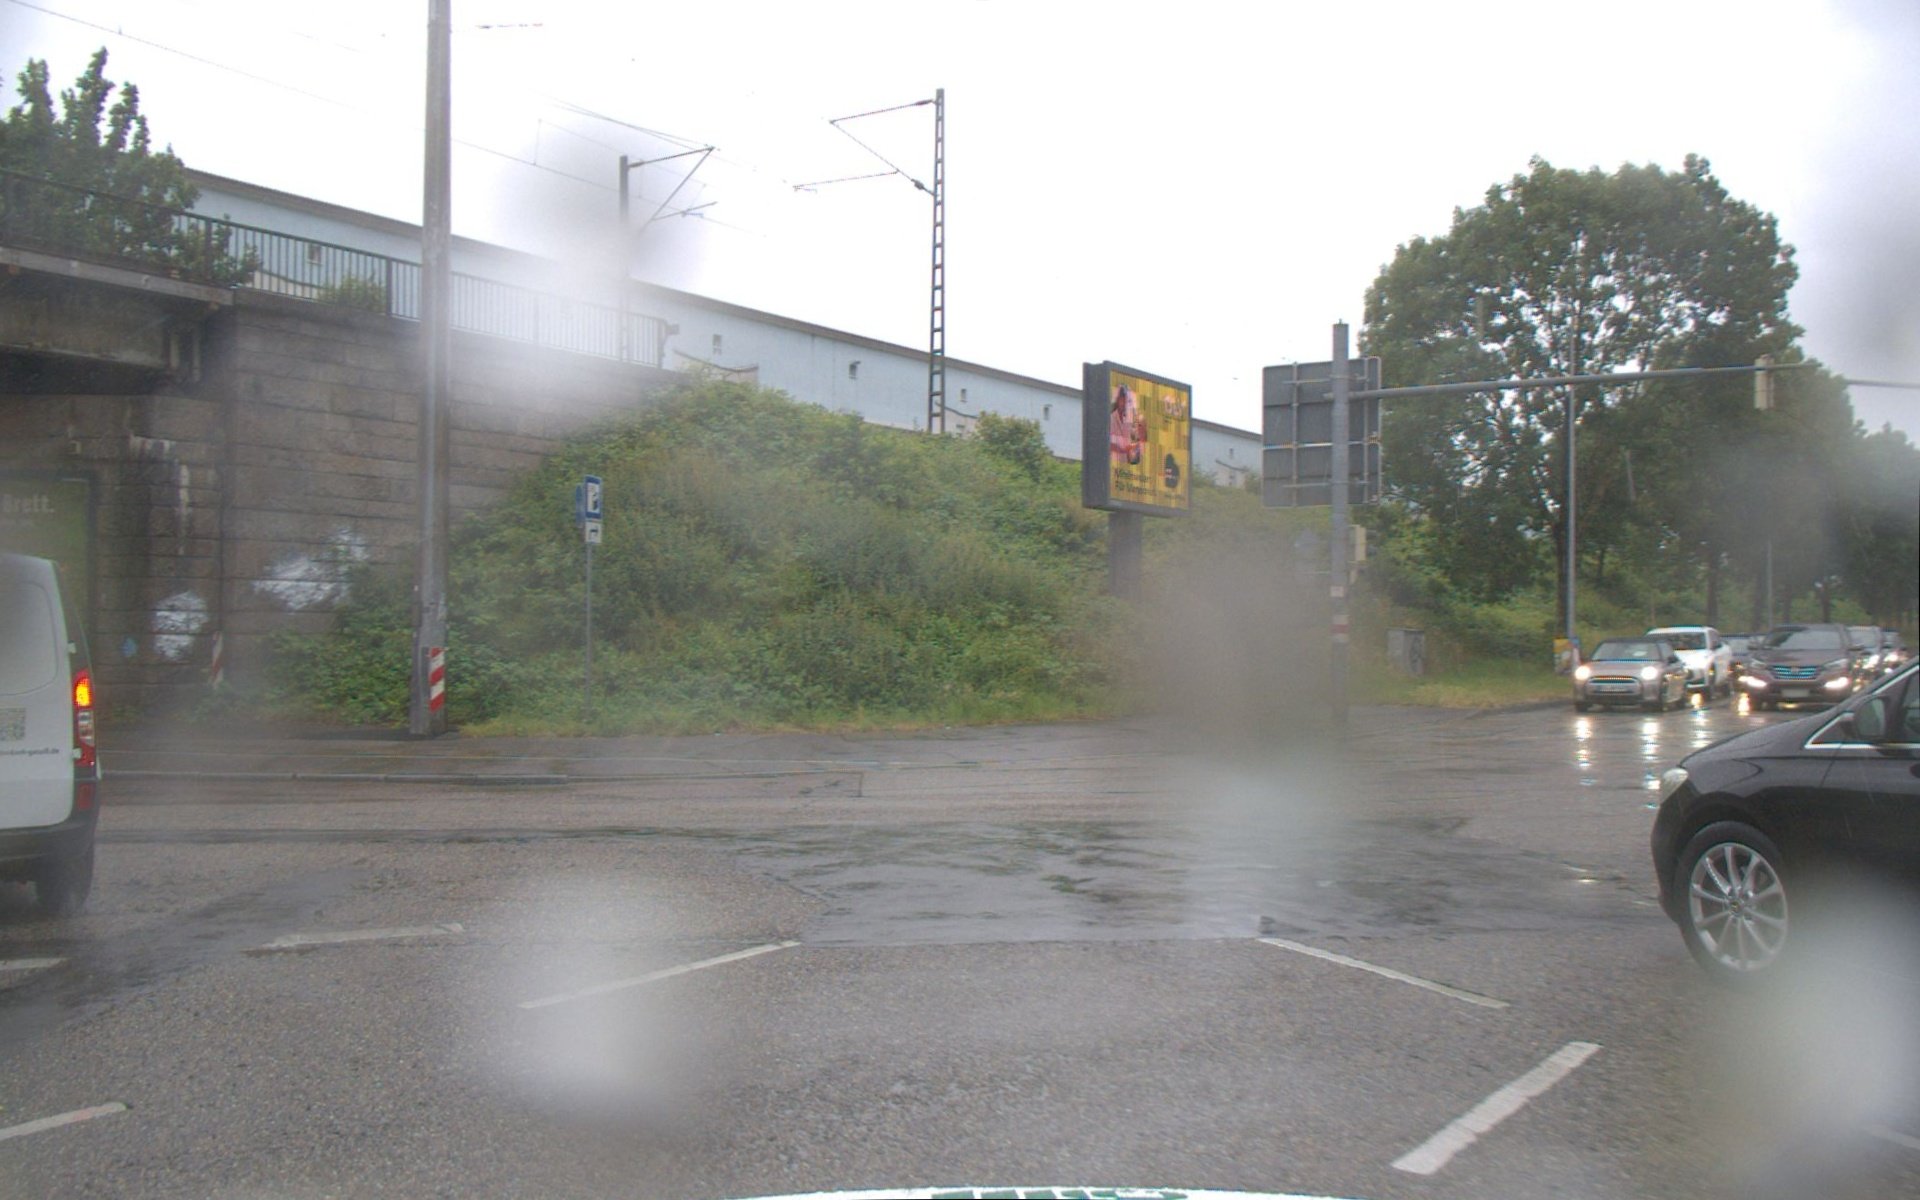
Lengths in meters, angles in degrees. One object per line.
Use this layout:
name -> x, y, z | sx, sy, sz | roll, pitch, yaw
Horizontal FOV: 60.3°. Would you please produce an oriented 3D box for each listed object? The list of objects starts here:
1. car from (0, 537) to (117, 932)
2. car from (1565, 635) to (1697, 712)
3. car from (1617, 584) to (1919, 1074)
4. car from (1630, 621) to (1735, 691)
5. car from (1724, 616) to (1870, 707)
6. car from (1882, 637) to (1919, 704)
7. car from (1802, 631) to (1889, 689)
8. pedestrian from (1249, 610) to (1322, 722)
car -> -5.918, 0.651, 8.914 | 1.744, 1.808, 3.945 | -1, 0, -38
car -> 13.568, 1.430, 33.336 | 1.858, 1.373, 3.991 | -1, 0, 31
car -> 4.009, 0.724, 5.067 | 1.836, 1.550, 4.076 | 0, -1, -10
car -> 16.935, 1.260, 38.664 | 1.793, 1.508, 3.992 | 0, -1, 30
car -> 16.919, 1.177, 33.350 | 1.989, 1.686, 4.045 | -1, -1, 37
car -> 21.811, 1.555, 37.134 | 1.792, 1.382, 3.995 | 0, -1, 27
car -> 23.189, 1.530, 43.241 | 1.794, 1.382, 3.990 | 0, -1, 31
pedestrian -> 5.228, 1.041, 26.530 | 0.982, 1.749, 0.819 | 0, -1, 26
